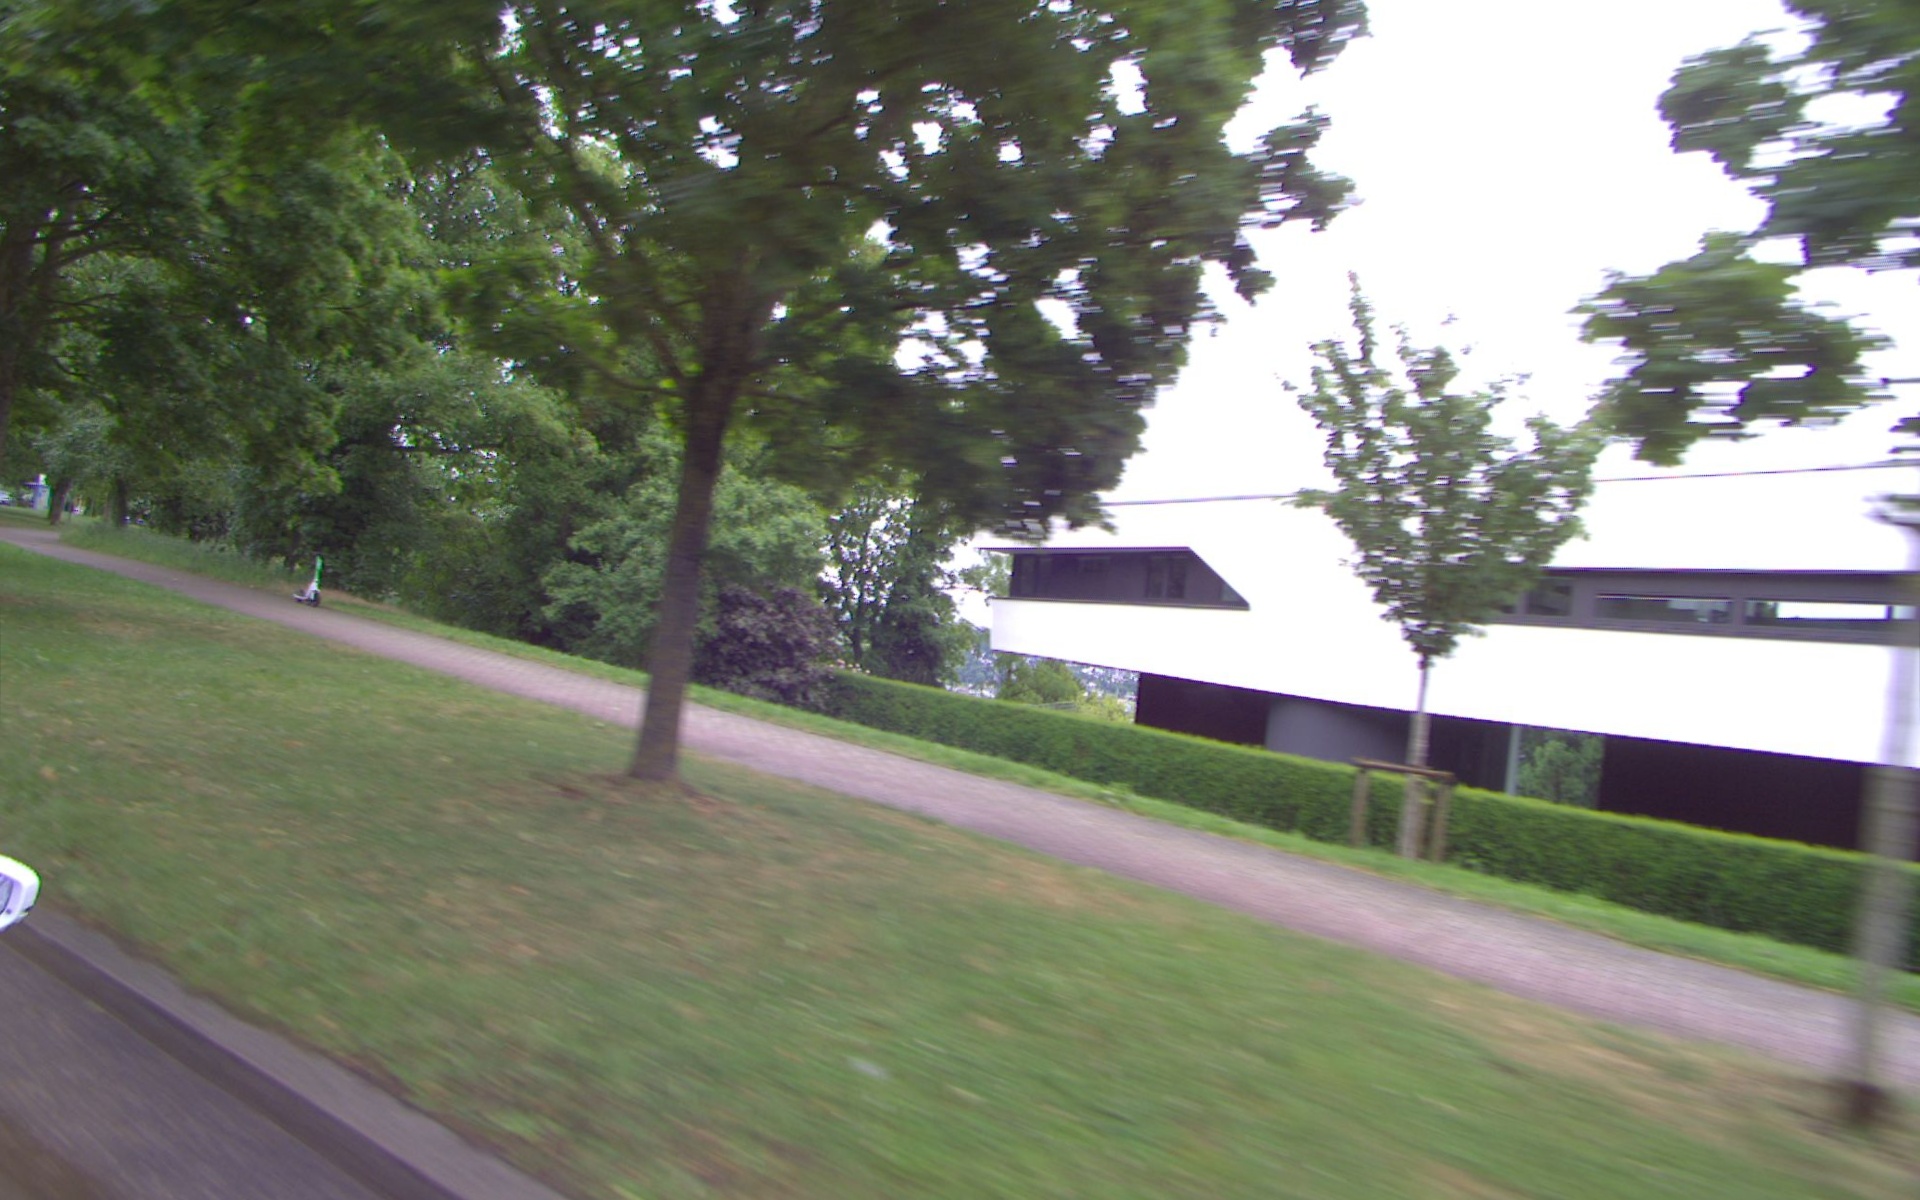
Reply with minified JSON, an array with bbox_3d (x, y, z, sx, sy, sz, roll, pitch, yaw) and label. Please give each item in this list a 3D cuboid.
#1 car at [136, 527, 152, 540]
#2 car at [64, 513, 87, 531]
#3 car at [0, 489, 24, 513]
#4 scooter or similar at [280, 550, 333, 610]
[{"bbox_3d":[-121.710,-9.919,150.078,1.419,1.586,3.390,13,-6,-43],"label":"car"},{"bbox_3d":[-115.669,-10.213,131.579,1.988,1.826,3.957,12,-5,-40],"label":"car"},{"bbox_3d":[-90.383,-9.439,95.135,1.986,1.823,3.963,11,-5,-36],"label":"car"},{"bbox_3d":[-14.326,-0.447,22.051,1.281,1.160,0.463,7,0,37],"label":"scooter or similar"}]
